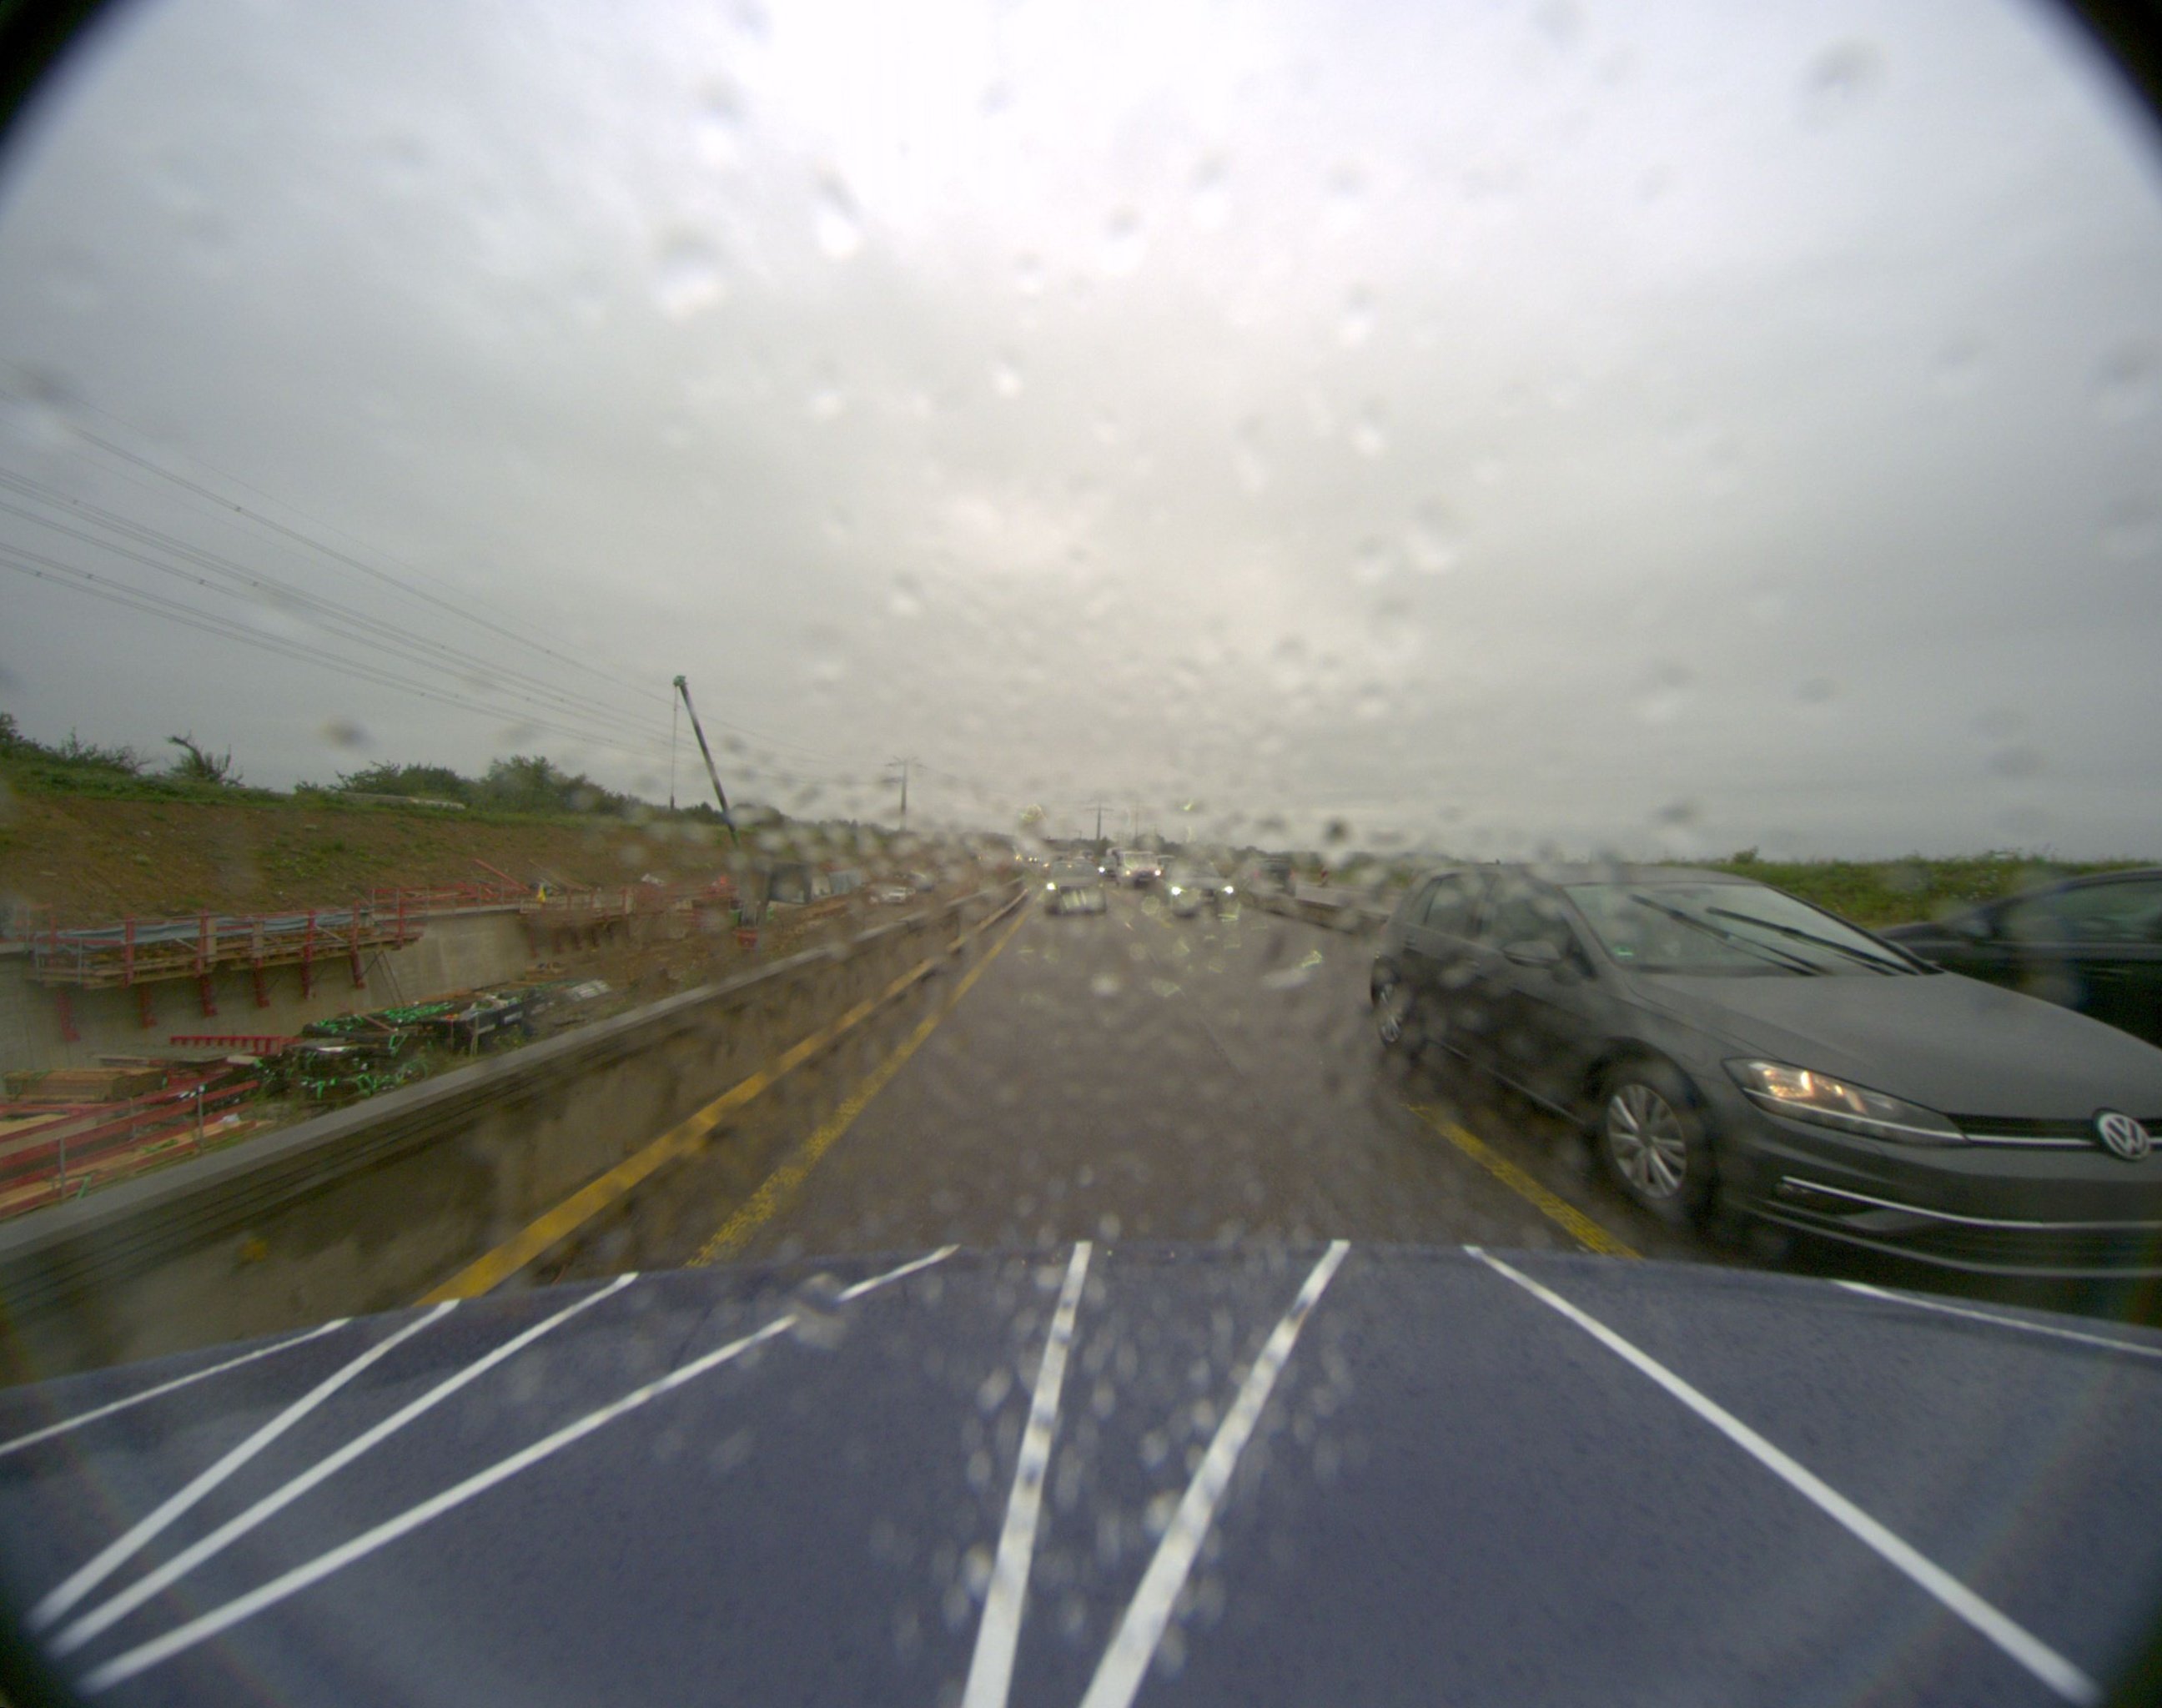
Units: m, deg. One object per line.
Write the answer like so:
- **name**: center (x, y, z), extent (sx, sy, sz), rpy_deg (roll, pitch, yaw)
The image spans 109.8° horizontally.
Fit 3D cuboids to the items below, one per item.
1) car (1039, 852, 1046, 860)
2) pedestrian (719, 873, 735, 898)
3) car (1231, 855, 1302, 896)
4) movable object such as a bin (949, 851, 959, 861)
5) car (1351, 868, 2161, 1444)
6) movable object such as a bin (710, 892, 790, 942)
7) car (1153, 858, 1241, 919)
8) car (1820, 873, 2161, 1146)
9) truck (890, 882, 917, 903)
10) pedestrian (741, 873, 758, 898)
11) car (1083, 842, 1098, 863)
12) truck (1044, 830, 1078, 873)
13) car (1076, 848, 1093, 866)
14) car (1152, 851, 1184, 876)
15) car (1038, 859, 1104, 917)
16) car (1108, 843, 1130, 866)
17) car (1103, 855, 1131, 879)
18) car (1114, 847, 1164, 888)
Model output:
- **car**: center (-9.723, 0.436, 191.418), extent (1.800, 1.850, 4.285), rpy_deg (-2, 1, -3)
- **pedestrian**: center (-33.538, 2.975, 72.008), extent (0.918, 2.233, 1.005), rpy_deg (-6, 2, -6)
- **car**: center (7.083, 0.805, 29.387), extent (1.614, 1.434, 4.462), rpy_deg (-2, -1, 0)
- **movable object such as a bin**: center (-34.466, 0.594, 206.306), extent (2.253, 2.703, 3.997), rpy_deg (-2, 1, -6)
- **car**: center (3.061, 0.870, 4.132), extent (1.654, 1.414, 4.079), rpy_deg (-1, 1, -1)
- **movable object such as a bin**: center (-24.294, 4.551, 56.040), extent (3.803, 2.790, 4.848), rpy_deg (-1, 6, -3)
- **car**: center (3.112, 0.874, 21.191), extent (1.799, 1.389, 4.268), rpy_deg (-2, 1, 0)
- **car**: center (6.940, 0.905, 4.413), extent (1.670, 1.457, 3.732), rpy_deg (-2, 0, 1)
- **truck**: center (-18.982, 4.063, 81.686), extent (1.767, 1.860, 5.784), rpy_deg (1, 1, -2)
- **pedestrian**: center (-31.894, 3.036, 73.184), extent (0.917, 2.219, 1.005), rpy_deg (-6, 2, 1)
- **car**: center (1.417, -0.194, 114.930), extent (1.999, 2.995, 5.778), rpy_deg (-2, 0, -2)
- **truck**: center (-1.942, -0.295, 69.579), extent (2.838, 3.617, 9.116), rpy_deg (-2, 1, -3)
- **car**: center (0.361, 0.289, 84.527), extent (1.800, 1.850, 4.286), rpy_deg (-2, 1, -1)
- **car**: center (6.226, 0.631, 54.968), extent (1.795, 1.713, 4.287), rpy_deg (-2, 0, 0)
- **car**: center (-0.218, 0.961, 23.318), extent (1.799, 1.524, 4.308), rpy_deg (-2, 0, 2)
- **car**: center (4.143, 0.065, 84.155), extent (2.029, 2.533, 5.957), rpy_deg (0, 0, -1)
- **car**: center (2.542, 0.921, 53.931), extent (1.799, 1.521, 4.067), rpy_deg (-2, 1, 0)
- **car**: center (2.919, 0.627, 39.078), extent (2.161, 1.848, 5.178), rpy_deg (-2, 1, 0)
